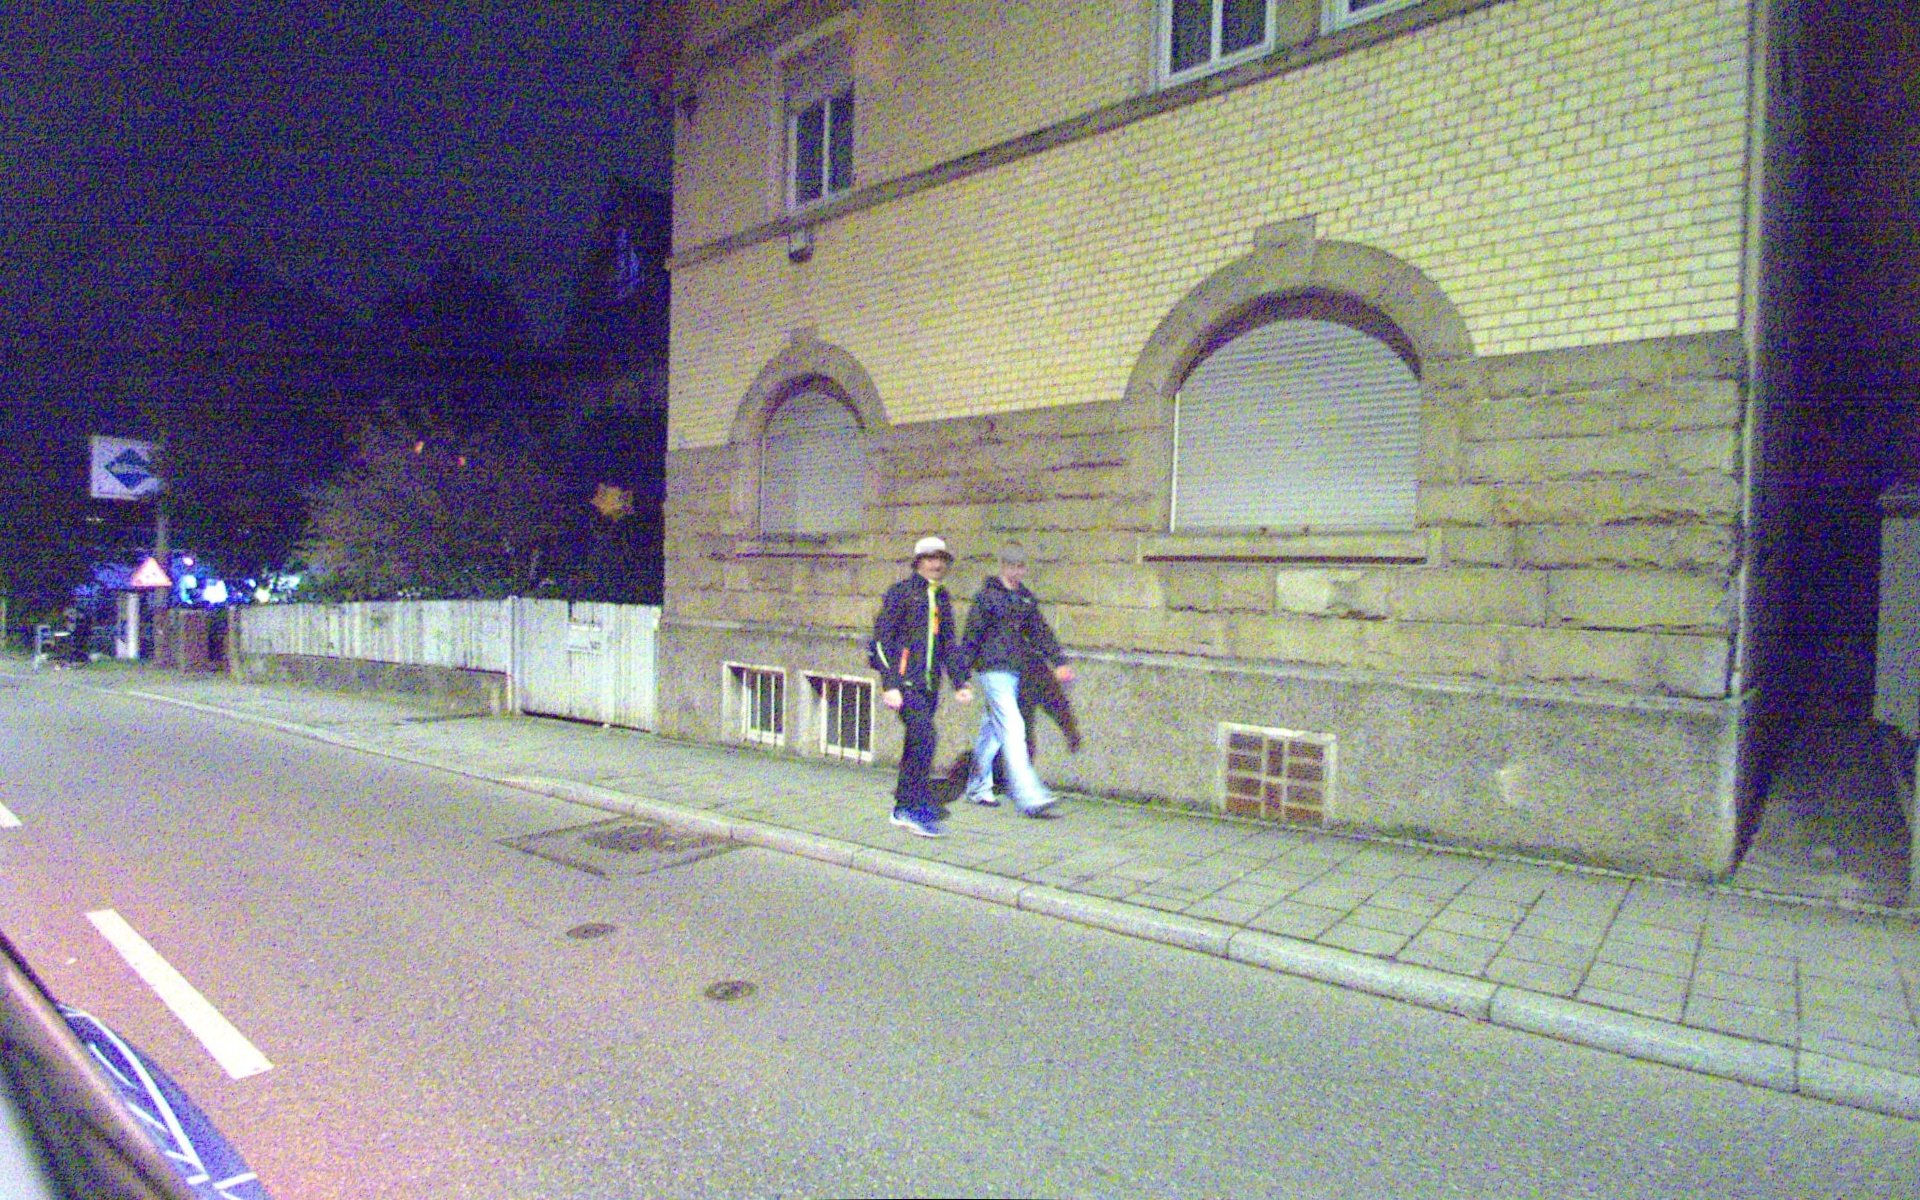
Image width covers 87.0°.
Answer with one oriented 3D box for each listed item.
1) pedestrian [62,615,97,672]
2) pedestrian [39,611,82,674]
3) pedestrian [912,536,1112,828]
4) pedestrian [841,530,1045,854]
[{"bbox_3d":[-27.417,1.341,31.515,0.865,1.739,0.662,-1,-1,38],"label":"pedestrian"},{"bbox_3d":[-24.922,1.159,28.041,1.102,1.684,0.734,-1,0,40],"label":"pedestrian"},{"bbox_3d":[0.337,0.497,6.735,1.102,1.758,0.734,-1,0,40],"label":"pedestrian"},{"bbox_3d":[-0.110,0.500,6.072,1.028,1.758,0.668,-1,0,40],"label":"pedestrian"}]
